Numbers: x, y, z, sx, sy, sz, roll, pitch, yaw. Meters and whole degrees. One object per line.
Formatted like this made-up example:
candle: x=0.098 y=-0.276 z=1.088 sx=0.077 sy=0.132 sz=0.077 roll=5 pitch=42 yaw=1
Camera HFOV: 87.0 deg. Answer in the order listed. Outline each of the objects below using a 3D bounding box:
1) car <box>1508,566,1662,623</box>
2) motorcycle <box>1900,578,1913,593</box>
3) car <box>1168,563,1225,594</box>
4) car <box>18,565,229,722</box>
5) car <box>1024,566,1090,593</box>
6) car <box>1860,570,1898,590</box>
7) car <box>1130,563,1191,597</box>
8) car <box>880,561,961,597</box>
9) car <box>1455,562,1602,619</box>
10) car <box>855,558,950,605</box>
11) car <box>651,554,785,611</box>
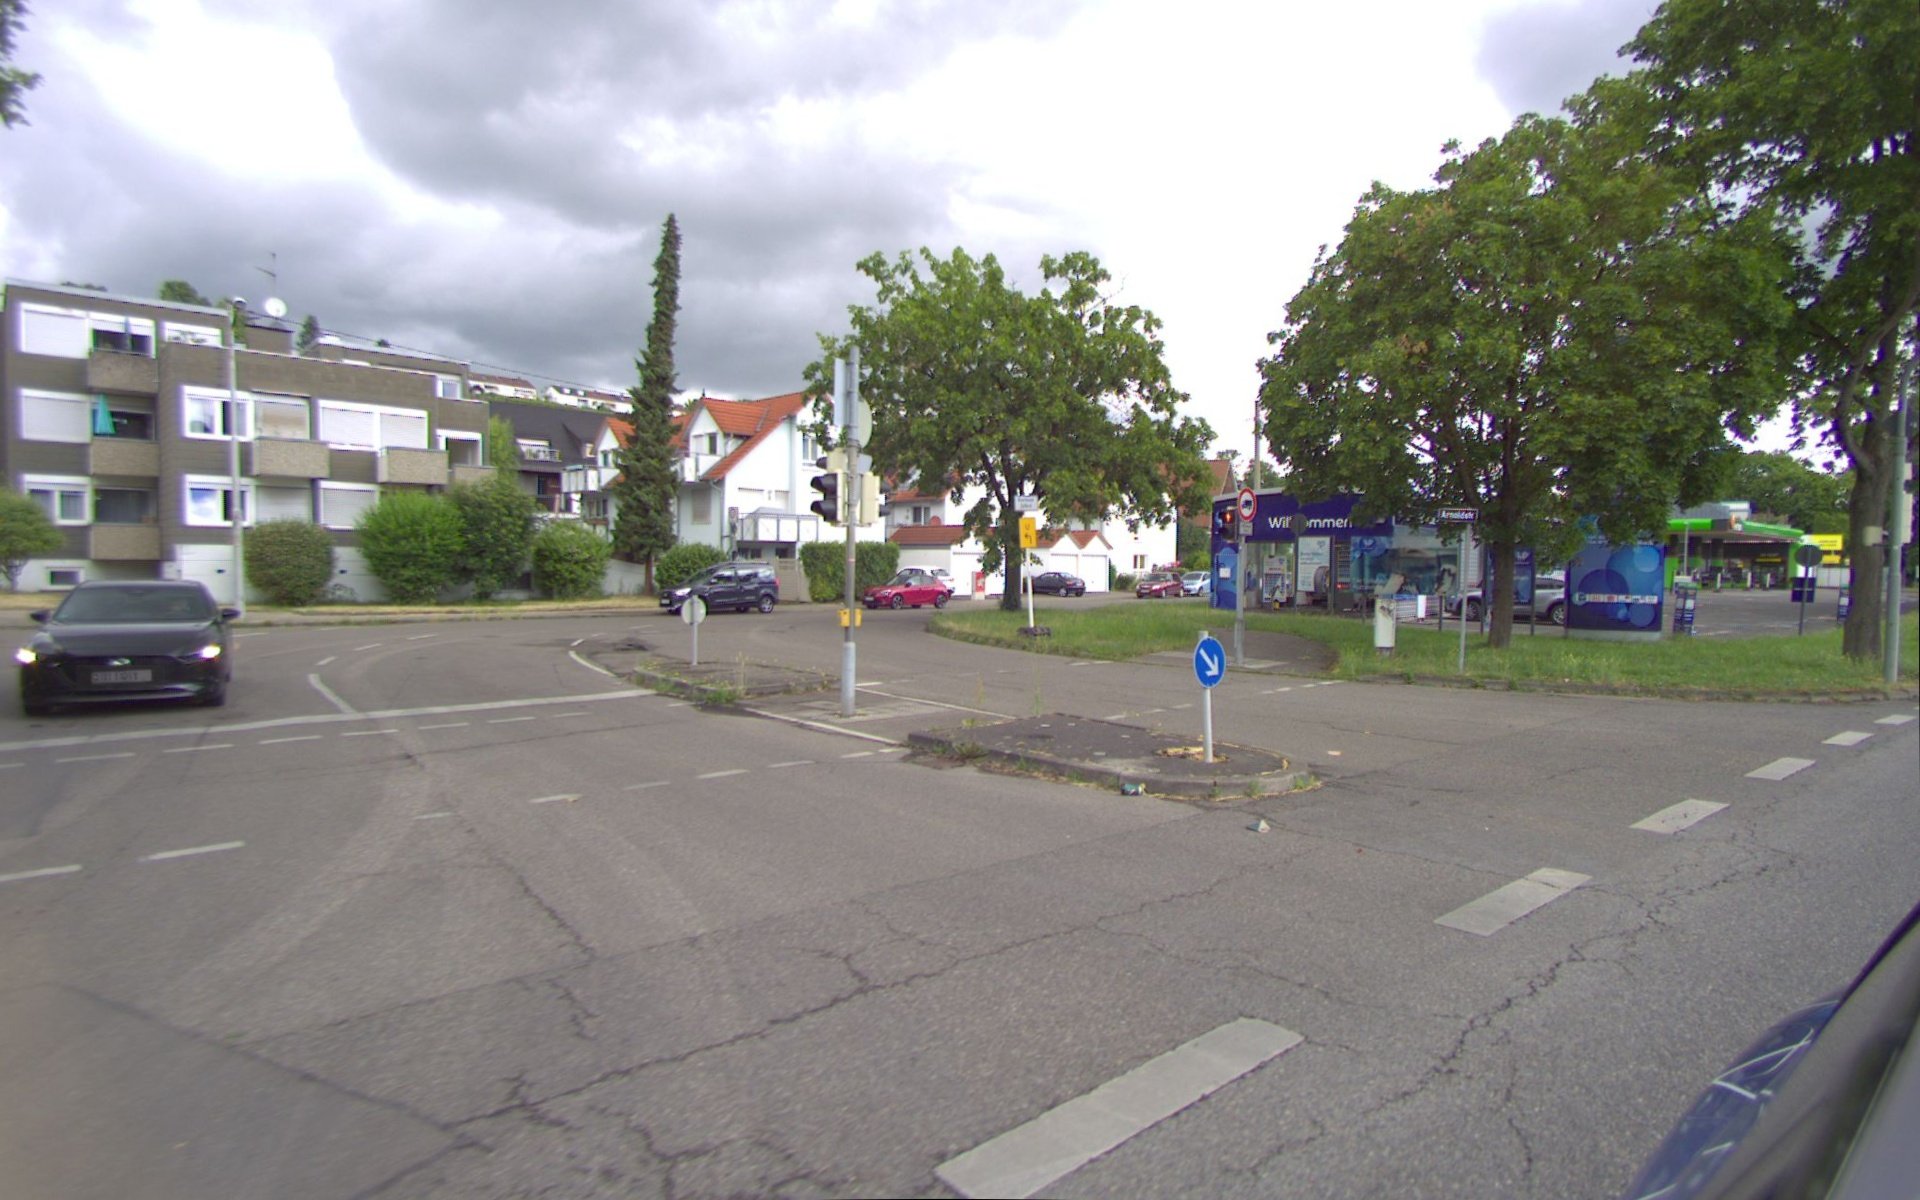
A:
car: x=22.426 y=-0.231 z=36.472 sx=4.308 sy=1.843 sz=1.749 roll=2 pitch=2 yaw=7
motorcycle: x=81.164 y=-1.245 z=86.802 sx=0.702 sy=1.201 sz=2.352 roll=3 pitch=3 yaw=42
car: x=14.763 y=-1.312 z=63.051 sx=1.935 sy=1.865 sz=4.410 roll=-1 pitch=0 yaw=35
car: x=-10.012 y=0.366 z=12.394 sx=1.672 sy=1.544 sz=4.167 roll=-1 pitch=3 yaw=-35
car: x=5.570 y=-1.165 z=58.187 sx=1.745 sy=1.475 sz=3.552 roll=-1 pitch=1 yaw=-42
car: x=83.743 y=-1.826 z=92.226 sx=4.251 sy=1.658 sz=1.998 roll=-1 pitch=5 yaw=-41
car: x=11.629 y=-1.150 z=58.515 sx=1.935 sy=1.865 sz=4.198 roll=-1 pitch=0 yaw=35
car: x=-2.001 y=-1.031 z=50.458 sx=3.799 sy=1.716 sz=1.891 roll=0 pitch=0 yaw=43
car: x=19.171 y=-0.366 z=34.296 sx=4.177 sy=1.718 sz=1.821 roll=3 pitch=2 yaw=30
car: x=-2.343 y=-0.761 z=41.907 sx=3.860 sy=1.865 sz=1.616 roll=-1 pitch=0 yaw=-45
car: x=-8.420 y=-0.612 z=35.536 sx=1.717 sy=1.865 sz=4.338 roll=-1 pitch=0 yaw=44
